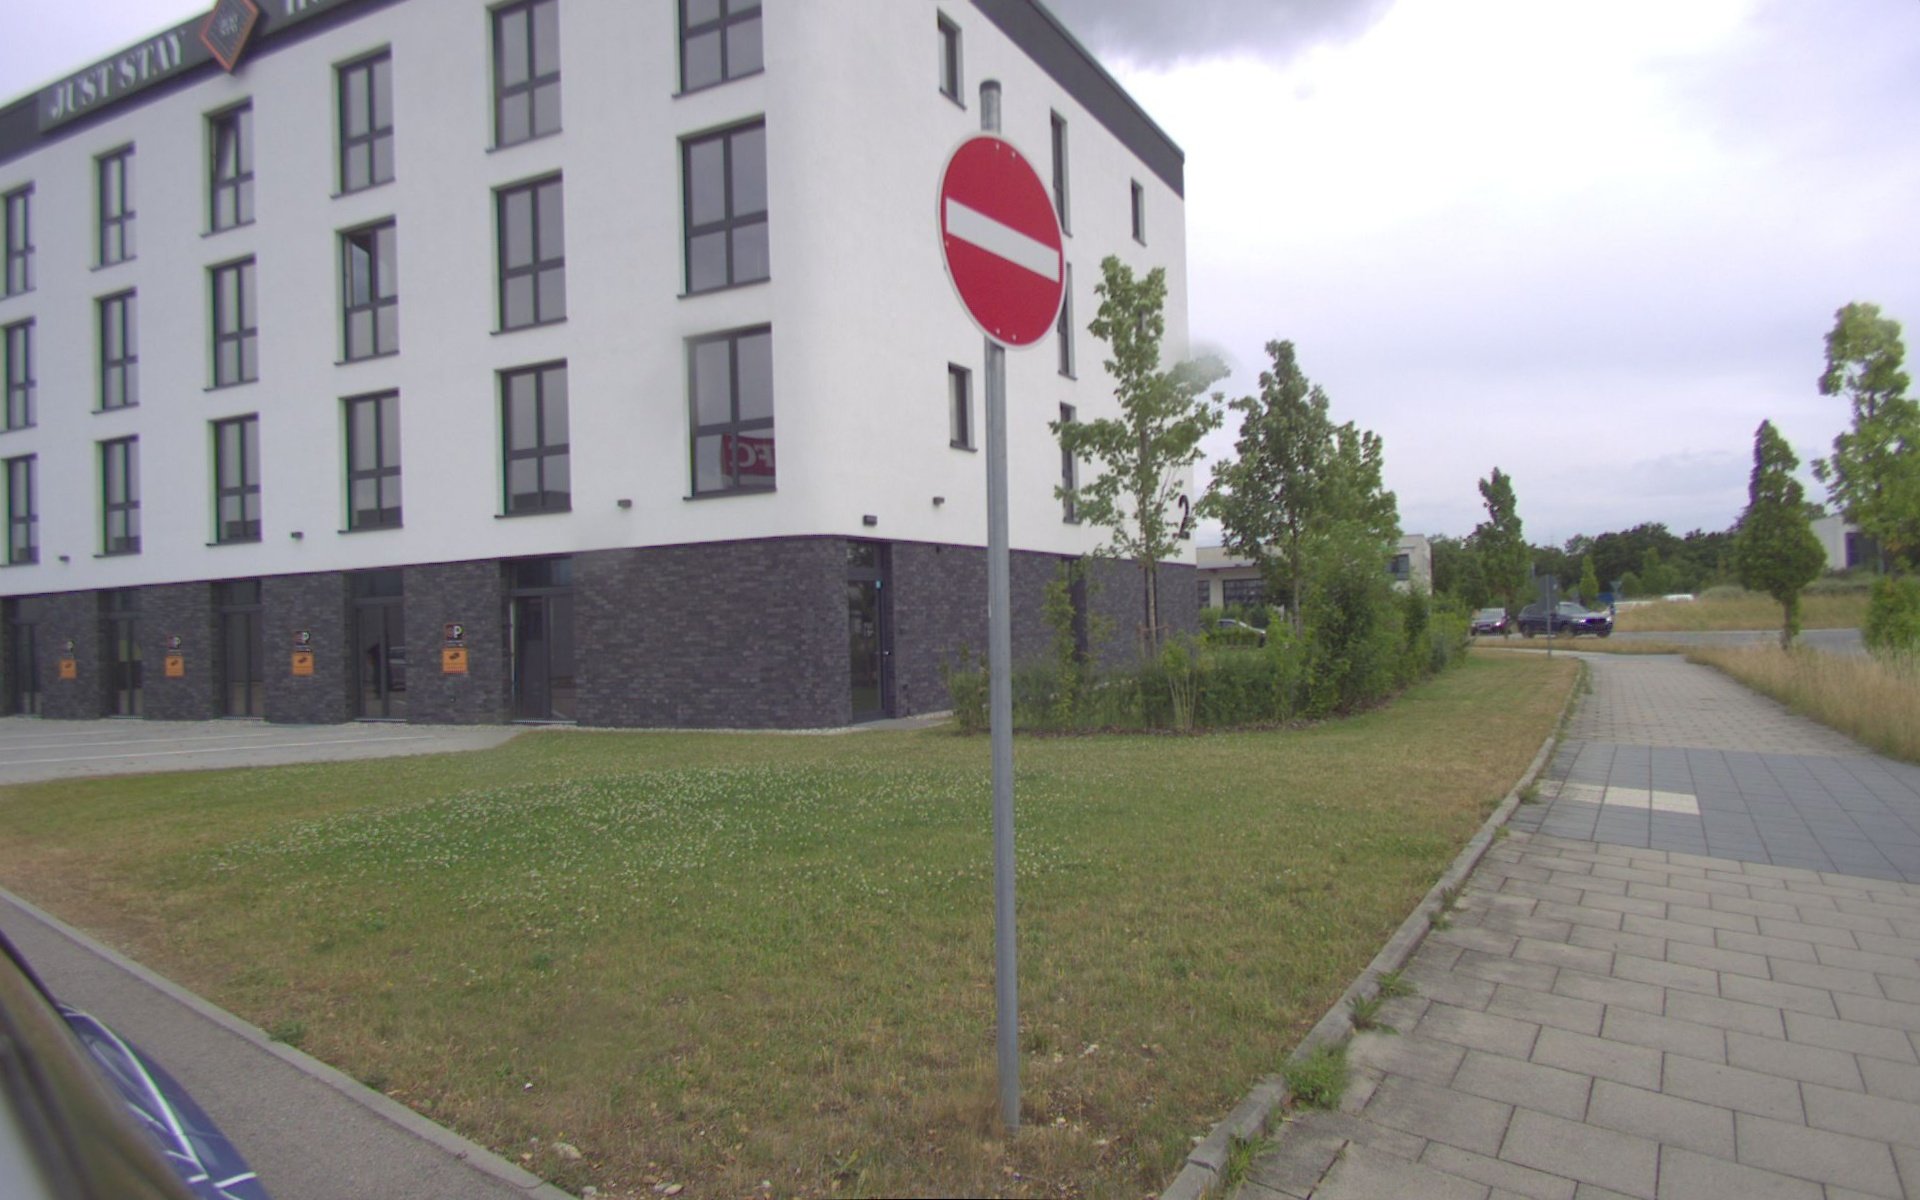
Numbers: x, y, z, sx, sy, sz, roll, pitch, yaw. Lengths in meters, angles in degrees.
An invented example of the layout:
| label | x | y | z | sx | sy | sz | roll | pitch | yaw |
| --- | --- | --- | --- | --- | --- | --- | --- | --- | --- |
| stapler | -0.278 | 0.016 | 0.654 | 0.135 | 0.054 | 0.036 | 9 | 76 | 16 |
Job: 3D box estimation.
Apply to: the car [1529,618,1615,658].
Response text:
| label | x | y | z | sx | sy | sz | roll | pitch | yaw |
| --- | --- | --- | --- | --- | --- | --- | --- | --- | --- |
| car | 27.713 | 1.699 | 45.972 | 1.873 | 1.652 | 3.988 | -2 | -1 | 9 |

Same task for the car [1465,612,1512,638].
| label | x | y | z | sx | sy | sz | roll | pitch | yaw |
| --- | --- | --- | --- | --- | --- | --- | --- | --- | --- |
| car | 29.767 | 1.374 | 56.987 | 1.560 | 1.364 | 3.248 | -3 | -2 | 42 |
